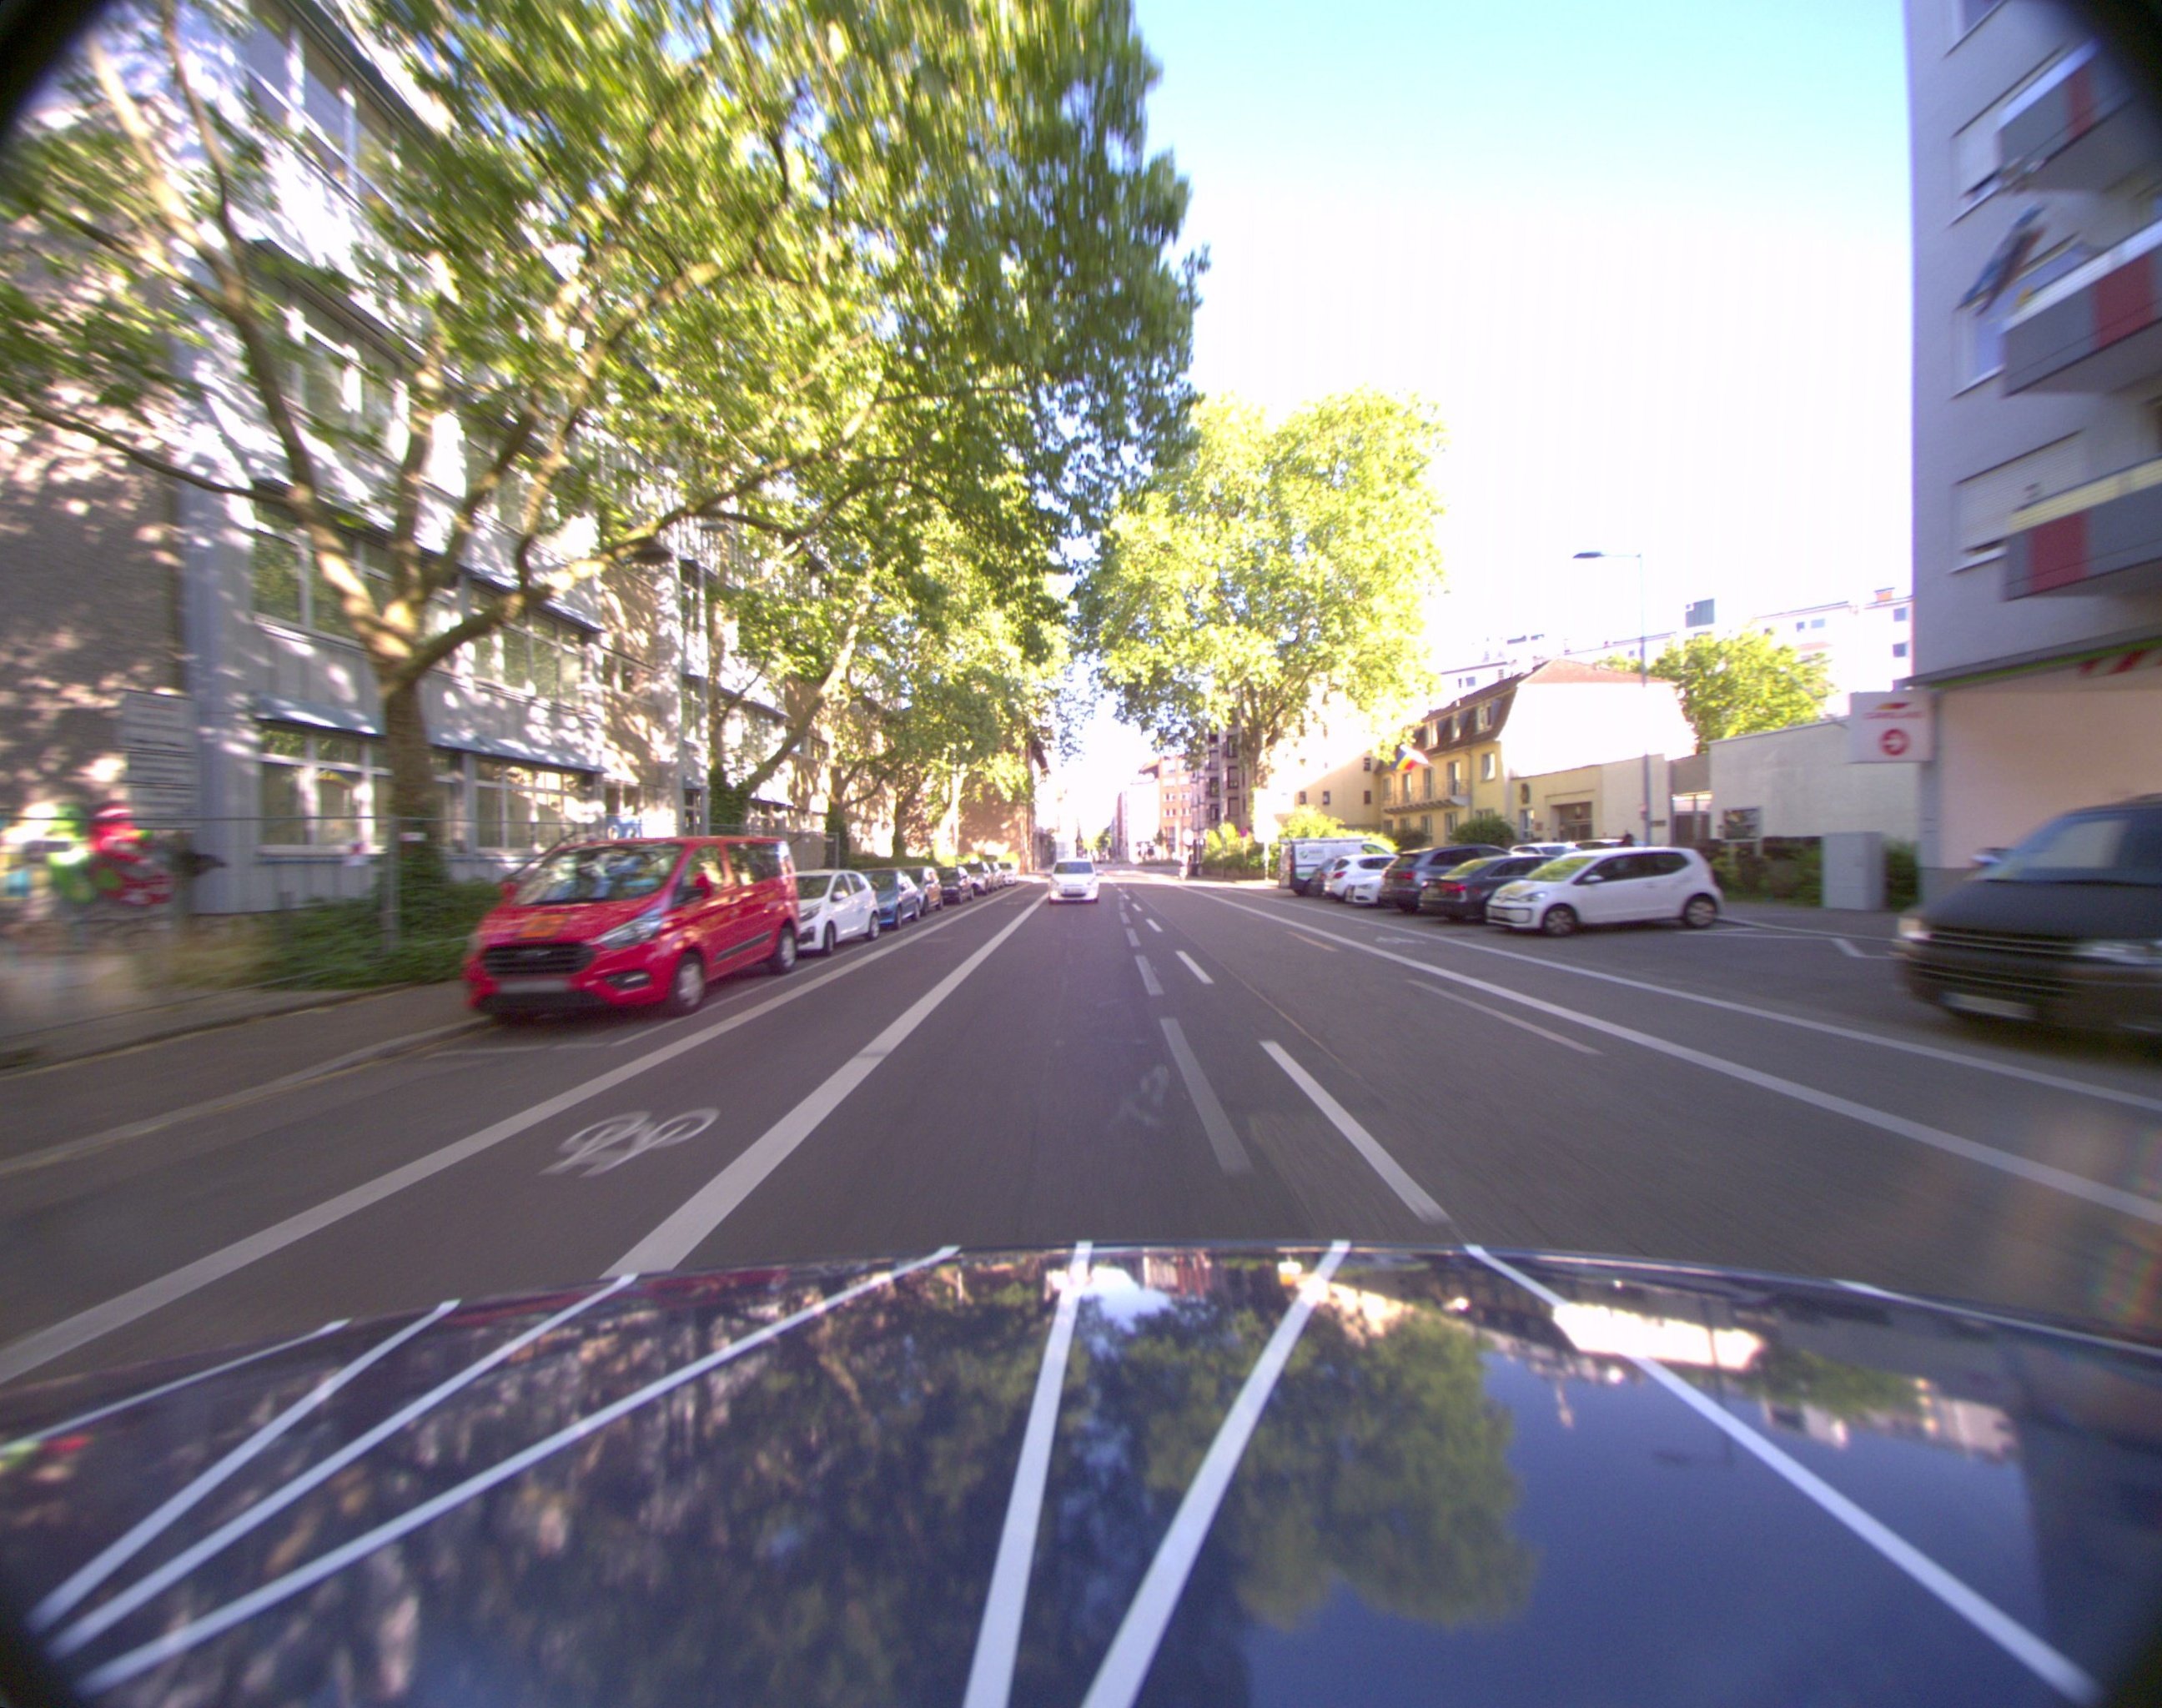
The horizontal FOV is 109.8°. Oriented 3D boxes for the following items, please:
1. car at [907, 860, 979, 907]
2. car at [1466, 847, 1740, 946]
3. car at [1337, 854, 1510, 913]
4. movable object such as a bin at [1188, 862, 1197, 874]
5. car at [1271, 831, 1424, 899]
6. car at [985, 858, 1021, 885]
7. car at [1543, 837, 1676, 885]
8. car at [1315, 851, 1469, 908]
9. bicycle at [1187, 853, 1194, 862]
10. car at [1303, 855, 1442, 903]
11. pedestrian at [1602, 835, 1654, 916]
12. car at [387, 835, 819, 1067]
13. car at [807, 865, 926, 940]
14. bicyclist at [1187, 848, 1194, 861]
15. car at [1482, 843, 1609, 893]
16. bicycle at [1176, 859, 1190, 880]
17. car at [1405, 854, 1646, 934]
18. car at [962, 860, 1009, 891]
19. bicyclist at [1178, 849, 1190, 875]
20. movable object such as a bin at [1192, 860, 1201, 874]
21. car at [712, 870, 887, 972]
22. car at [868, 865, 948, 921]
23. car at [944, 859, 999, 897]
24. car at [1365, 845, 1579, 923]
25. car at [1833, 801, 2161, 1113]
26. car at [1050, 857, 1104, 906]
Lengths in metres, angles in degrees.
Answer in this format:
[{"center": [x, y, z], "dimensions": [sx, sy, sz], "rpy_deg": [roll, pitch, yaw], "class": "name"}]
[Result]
[{"center": [-5.109, 1.061, 28.739], "dimensions": [1.860, 1.514, 4.599], "rpy_deg": [-3, 0, 0], "class": "car"}, {"center": [9.385, 0.728, 13.898], "dimensions": [3.694, 1.504, 1.830], "rpy_deg": [-3, 0, 0], "class": "car"}, {"center": [9.558, 0.796, 21.449], "dimensions": [3.997, 1.424, 1.853], "rpy_deg": [-2, 0, 0], "class": "car"}, {"center": [8.821, 1.090, 60.116], "dimensions": [0.542, 0.896, 0.604], "rpy_deg": [-1, 1, 1], "class": "movable object such as a bin"}, {"center": [9.816, 0.388, 28.238], "dimensions": [4.856, 2.204, 2.140], "rpy_deg": [-3, 1, 0], "class": "car"}, {"center": [-4.649, 1.005, 45.847], "dimensions": [1.860, 1.428, 4.968], "rpy_deg": [-2, 0, -3], "class": "car"}, {"center": [18.199, 0.228, 26.395], "dimensions": [1.794, 1.455, 4.000], "rpy_deg": [-3, 0, 0], "class": "car"}, {"center": [9.603, 0.769, 23.669], "dimensions": [3.997, 1.550, 1.853], "rpy_deg": [-2, 0, 0], "class": "car"}, {"center": [14.167, 0.451, 98.379], "dimensions": [0.730, 1.193, 2.179], "rpy_deg": [0, 0, 2], "class": "bicycle"}, {"center": [9.858, 0.812, 25.949], "dimensions": [3.997, 1.424, 1.853], "rpy_deg": [-2, 0, 0], "class": "car"}, {"center": [12.381, 0.471, 17.206], "dimensions": [0.633, 1.778, 0.722], "rpy_deg": [-1, 0, 0], "class": "pedestrian"}, {"center": [-5.181, 0.864, 9.420], "dimensions": [2.083, 1.982, 5.170], "rpy_deg": [-3, 0, -2], "class": "car"}, {"center": [-5.155, 1.107, 18.821], "dimensions": [1.860, 1.502, 3.928], "rpy_deg": [-3, 0, -2], "class": "car"}, {"center": [14.158, 0.017, 98.293], "dimensions": [0.730, 1.632, 1.168], "rpy_deg": [-1, 1, 2], "class": "bicyclist"}, {"center": [15.539, 0.432, 25.674], "dimensions": [1.794, 1.455, 4.000], "rpy_deg": [-3, 0, 0], "class": "car"}, {"center": [6.192, 0.951, 46.128], "dimensions": [0.608, 1.232, 2.049], "rpy_deg": [1, 0, 0], "class": "bicycle"}, {"center": [9.327, 0.812, 16.201], "dimensions": [3.997, 1.447, 1.916], "rpy_deg": [-2, 0, 0], "class": "car"}, {"center": [-4.975, 1.071, 39.983], "dimensions": [1.860, 1.428, 4.602], "rpy_deg": [-2, 0, 0], "class": "car"}, {"center": [6.207, 0.493, 45.890], "dimensions": [0.608, 1.535, 0.934], "rpy_deg": [1, 0, 0], "class": "bicyclist"}, {"center": [8.848, 1.003, 58.131], "dimensions": [0.595, 1.065, 0.644], "rpy_deg": [-1, 1, 1], "class": "movable object such as a bin"}, {"center": [-5.001, 1.120, 14.081], "dimensions": [1.641, 1.476, 3.760], "rpy_deg": [-3, 0, 2], "class": "car"}, {"center": [-5.221, 1.122, 23.356], "dimensions": [1.617, 1.466, 3.492], "rpy_deg": [-3, 0, 0], "class": "car"}, {"center": [-4.981, 1.057, 35.039], "dimensions": [1.860, 1.514, 4.296], "rpy_deg": [-2, 0, 0], "class": "car"}, {"center": [9.563, 0.691, 18.857], "dimensions": [4.204, 1.674, 2.028], "rpy_deg": [-2, 0, 0], "class": "car"}, {"center": [9.049, 0.532, 5.770], "dimensions": [4.534, 1.940, 2.057], "rpy_deg": [-3, 0, 1], "class": "car"}, {"center": [-0.148, 0.898, 26.285], "dimensions": [1.683, 1.489, 3.685], "rpy_deg": [-2, 0, -1], "class": "car"}]
